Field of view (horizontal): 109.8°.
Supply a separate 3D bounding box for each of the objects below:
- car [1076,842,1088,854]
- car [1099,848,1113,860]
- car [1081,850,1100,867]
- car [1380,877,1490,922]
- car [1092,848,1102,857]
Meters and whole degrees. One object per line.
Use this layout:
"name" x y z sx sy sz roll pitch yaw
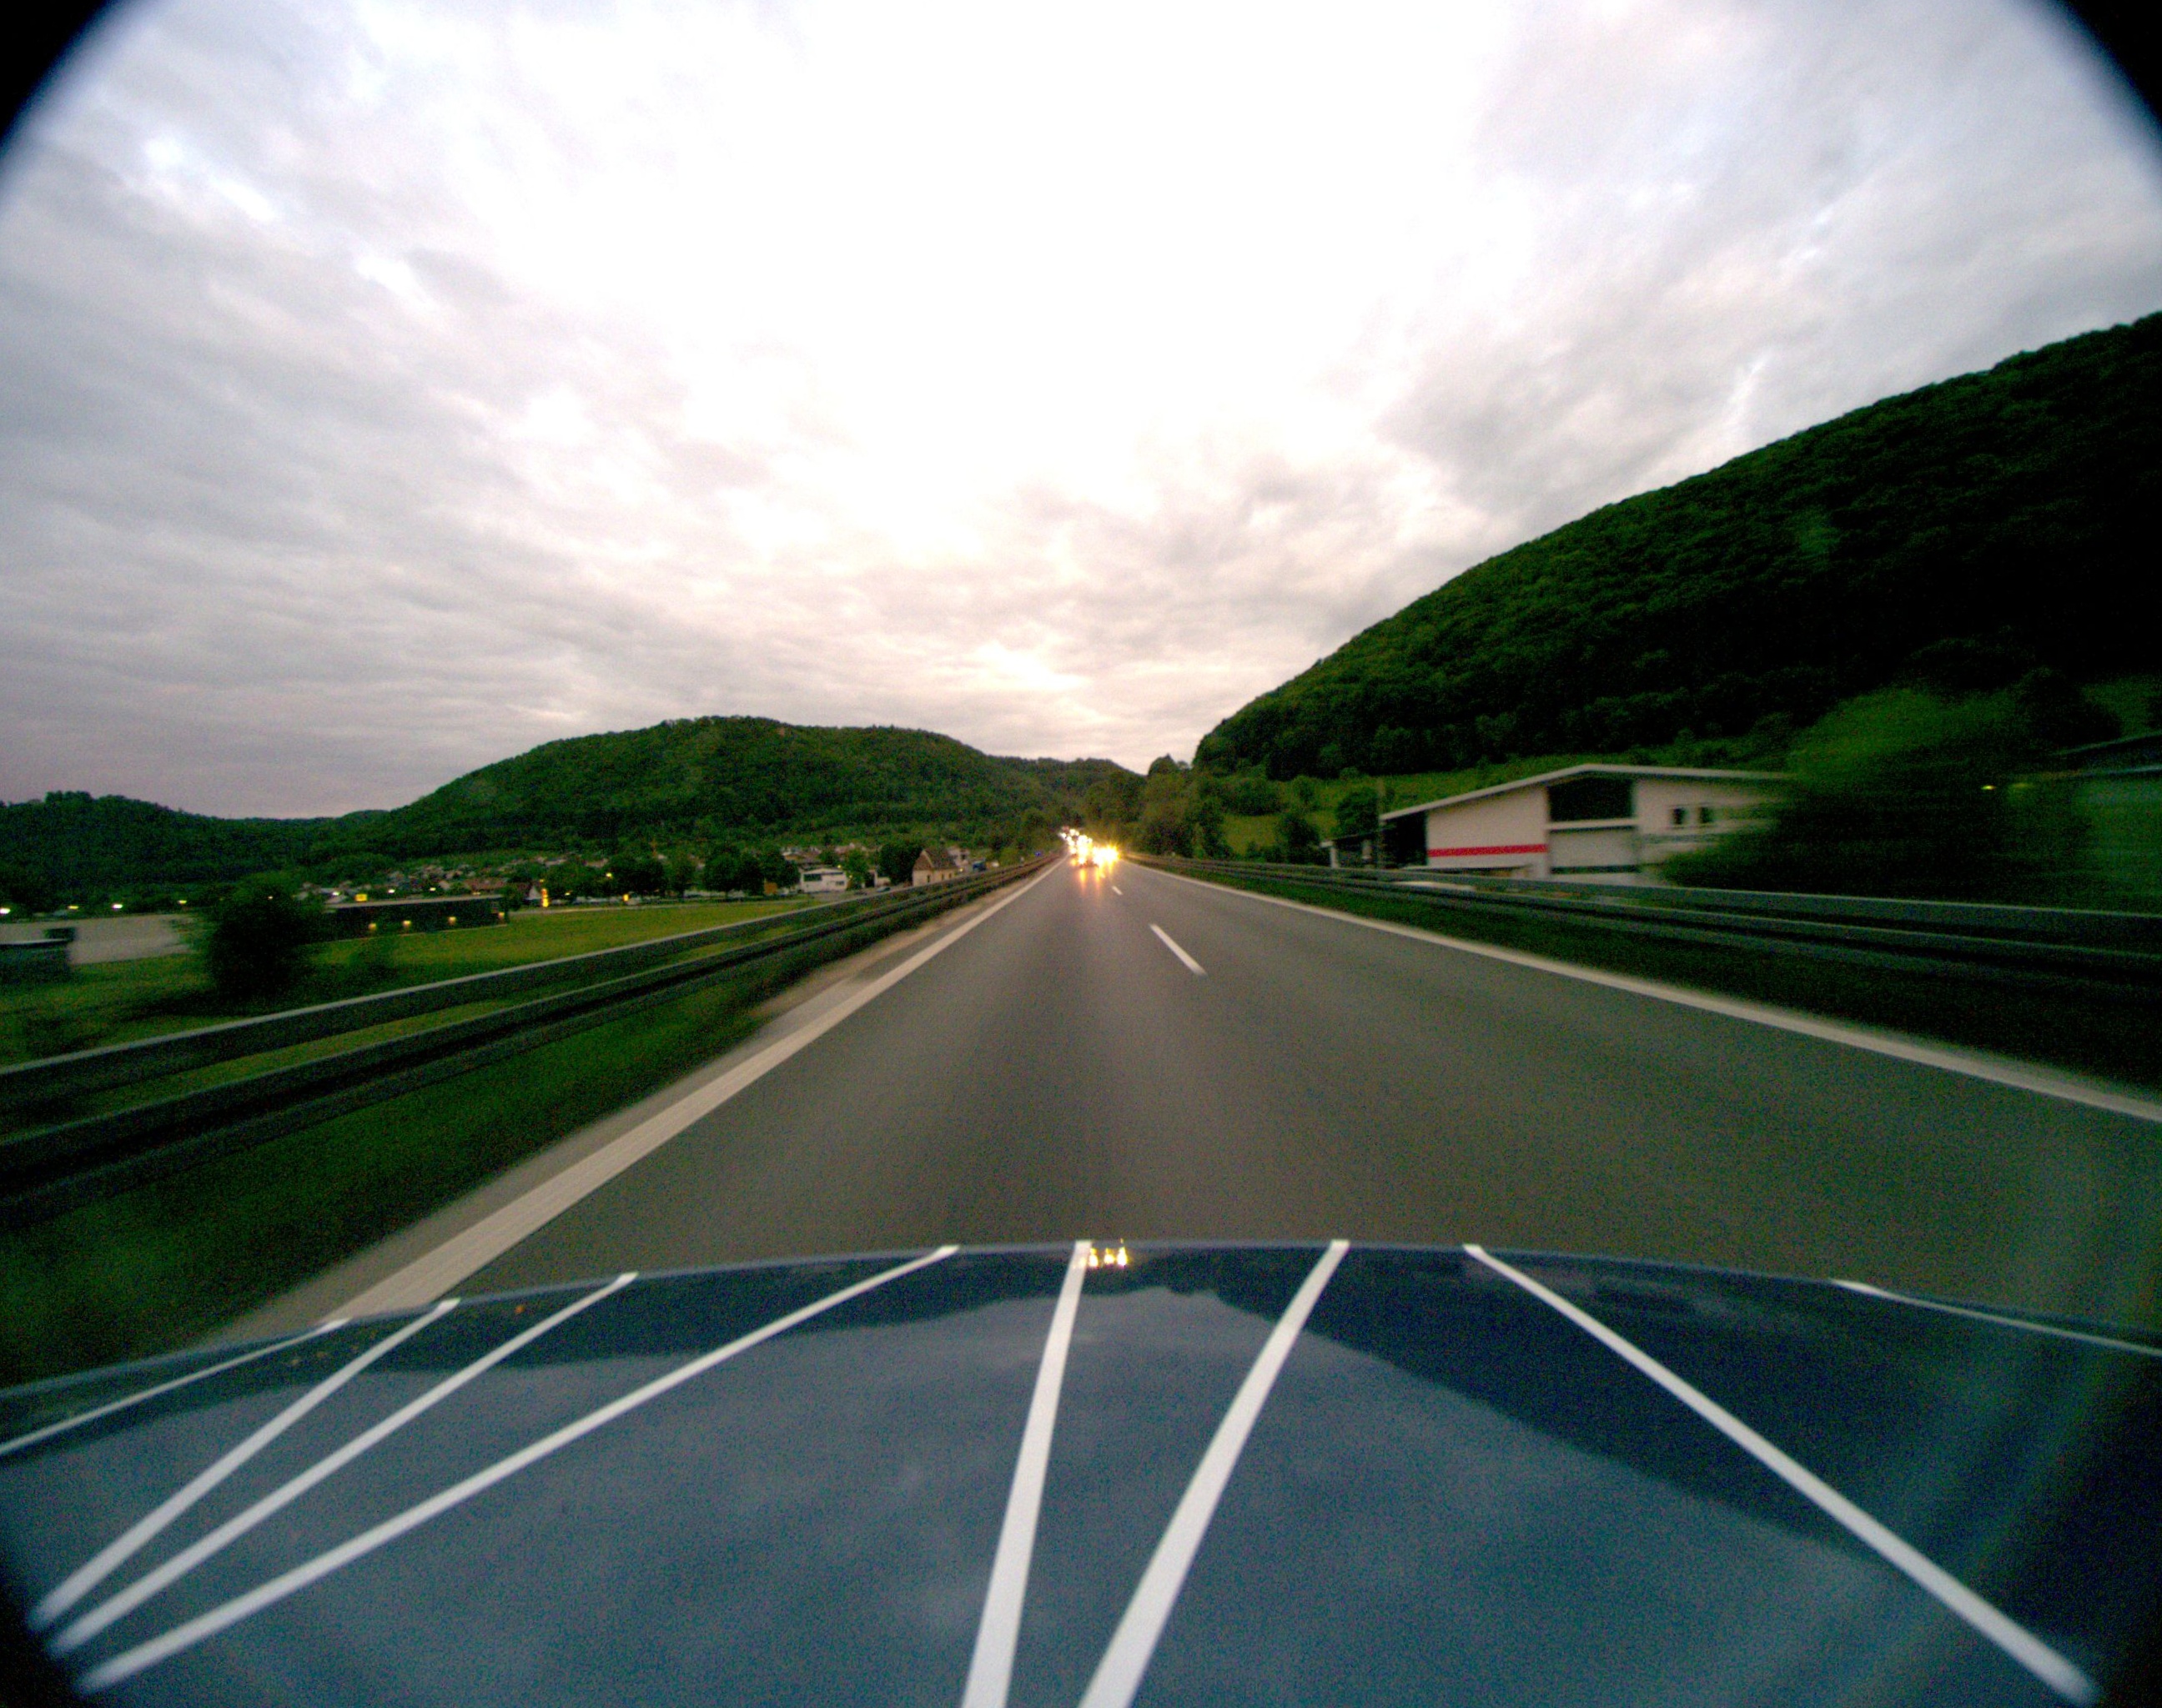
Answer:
"car" 0.126 -0.977 119.920 1.738 1.640 3.670 -1 -2 0
"car" 3.360 -0.014 103.420 1.690 1.459 3.769 -1 -2 -1
"car" 0.825 0.406 70.823 1.690 1.442 3.670 -1 -2 0
"car" 15.553 1.981 33.520 3.995 1.683 1.773 -2 2 5
"car" 2.911 -0.197 135.753 1.690 1.424 3.670 -1 -2 0
